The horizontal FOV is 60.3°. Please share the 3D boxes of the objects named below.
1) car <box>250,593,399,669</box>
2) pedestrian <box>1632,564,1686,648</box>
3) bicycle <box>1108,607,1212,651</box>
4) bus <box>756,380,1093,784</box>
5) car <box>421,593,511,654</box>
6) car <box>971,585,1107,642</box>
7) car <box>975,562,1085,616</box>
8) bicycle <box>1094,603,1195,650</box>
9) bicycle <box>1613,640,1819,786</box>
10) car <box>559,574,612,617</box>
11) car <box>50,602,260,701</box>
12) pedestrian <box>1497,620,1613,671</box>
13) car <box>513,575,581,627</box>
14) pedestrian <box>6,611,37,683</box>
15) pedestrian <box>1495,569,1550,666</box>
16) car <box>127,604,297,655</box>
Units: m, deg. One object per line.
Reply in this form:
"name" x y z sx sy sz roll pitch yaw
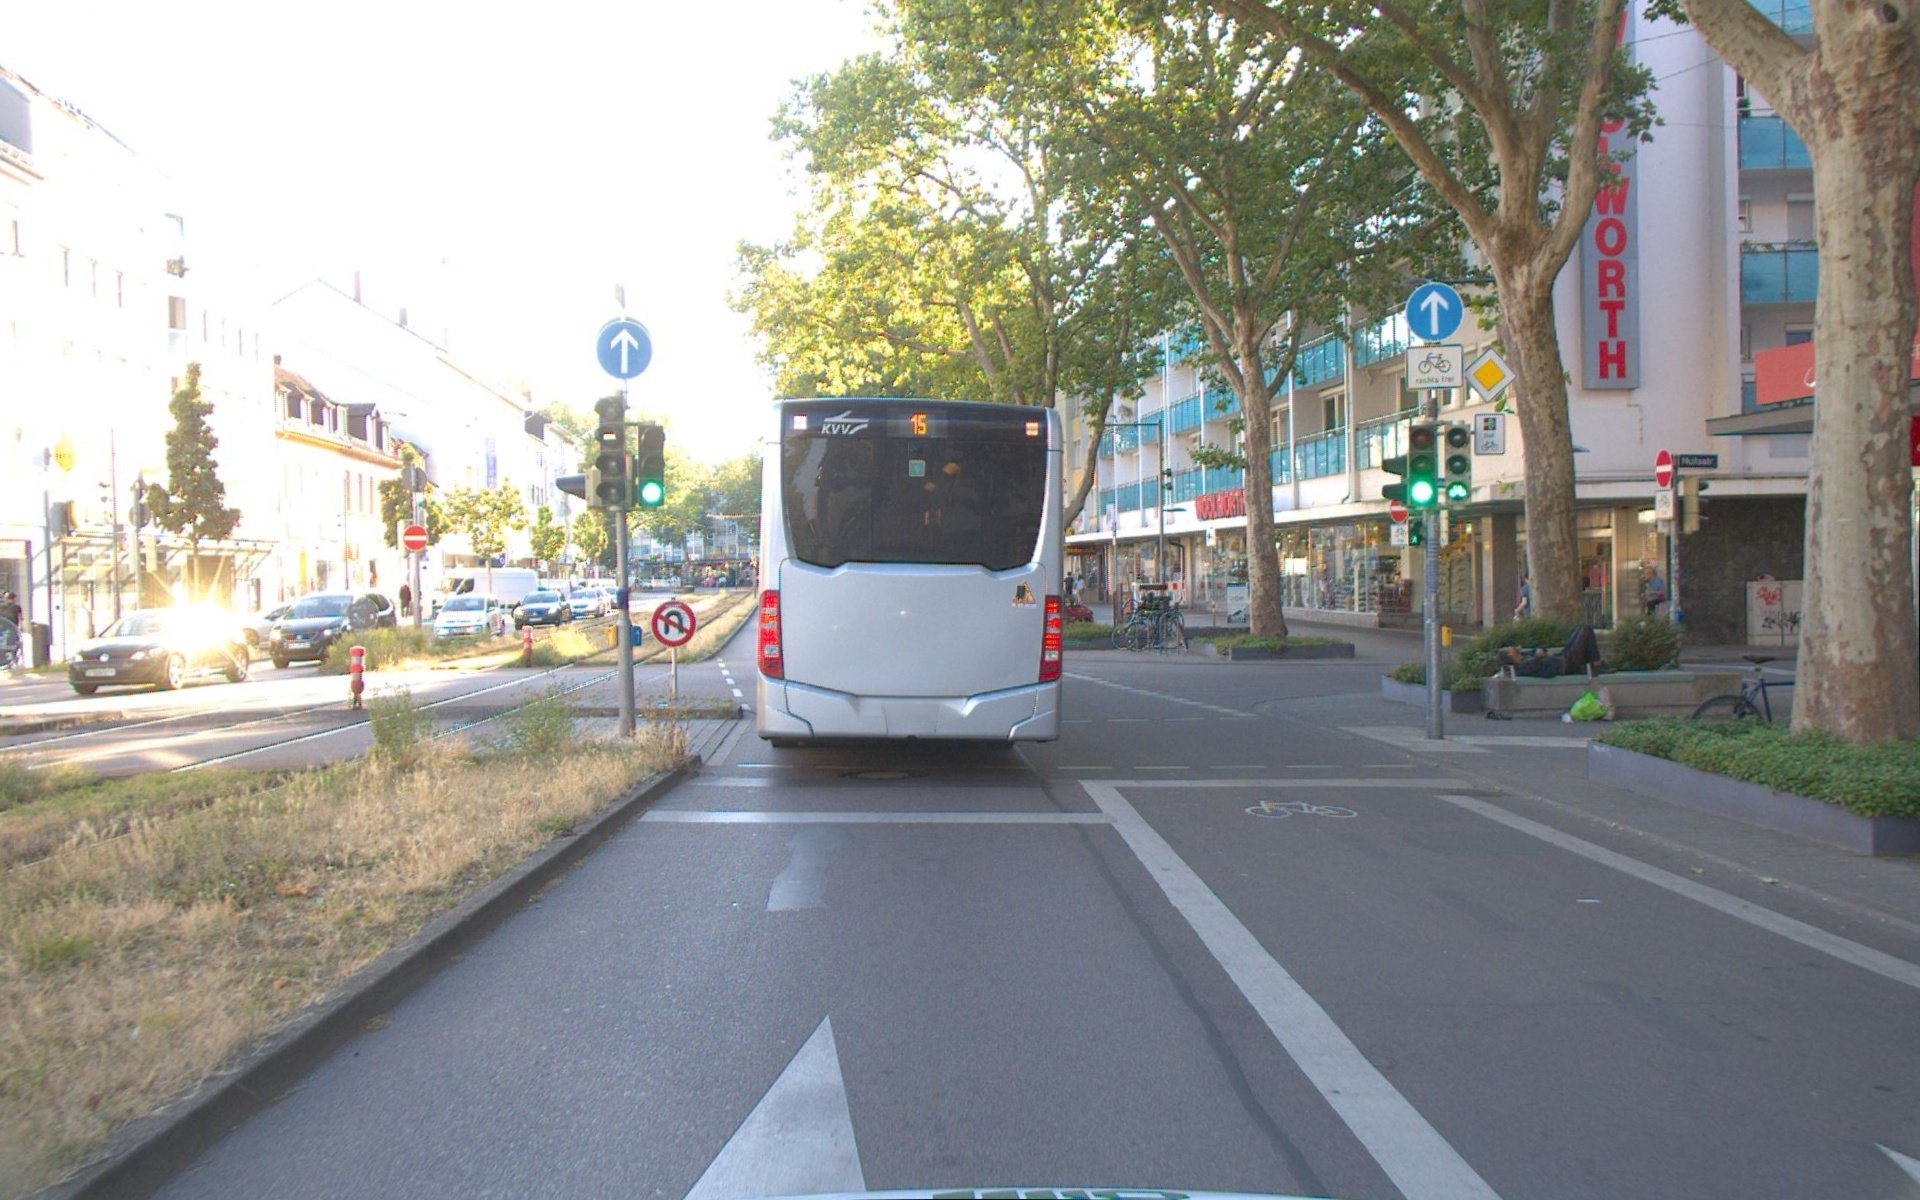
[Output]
"car" -15.106 0.679 39.583 1.744 1.643 4.509 -1 1 1
"pedestrian" 14.623 0.119 34.622 0.733 1.708 0.834 -1 2 -7
"bicycle" 4.660 0.670 38.548 2.267 0.956 0.835 -1 2 -9
"bus" -0.481 -0.171 16.474 2.625 3.137 7.109 0 0 -4
"car" -15.587 0.701 52.370 1.860 1.836 3.997 -1 0 -4
"car" 2.341 0.367 48.377 1.964 1.557 3.978 -1 0 41
"car" 2.693 -0.427 63.244 3.966 2.004 1.970 -1 0 -42
"bicycle" 4.419 0.625 39.731 2.267 1.046 0.835 -1 2 -9
"bicycle" 6.315 0.935 13.840 1.478 1.124 0.460 2 0 -1
"car" -18.657 -0.209 82.556 1.954 2.049 3.997 -1 0 -4
"car" -14.658 0.890 30.383 1.744 1.475 4.045 -3 1 1
"pedestrian" 7.192 0.549 20.004 1.229 0.599 0.482 0 0 -3
"car" -16.775 0.031 67.310 1.954 2.049 3.997 -1 0 -4
"pedestrian" -22.982 1.150 40.507 0.417 1.743 0.508 -1 0 3
"pedestrian" 10.849 0.335 31.911 0.764 1.825 0.764 -1 0 -1
"car" -23.289 0.898 51.552 4.505 1.437 1.973 -1 0 -38
